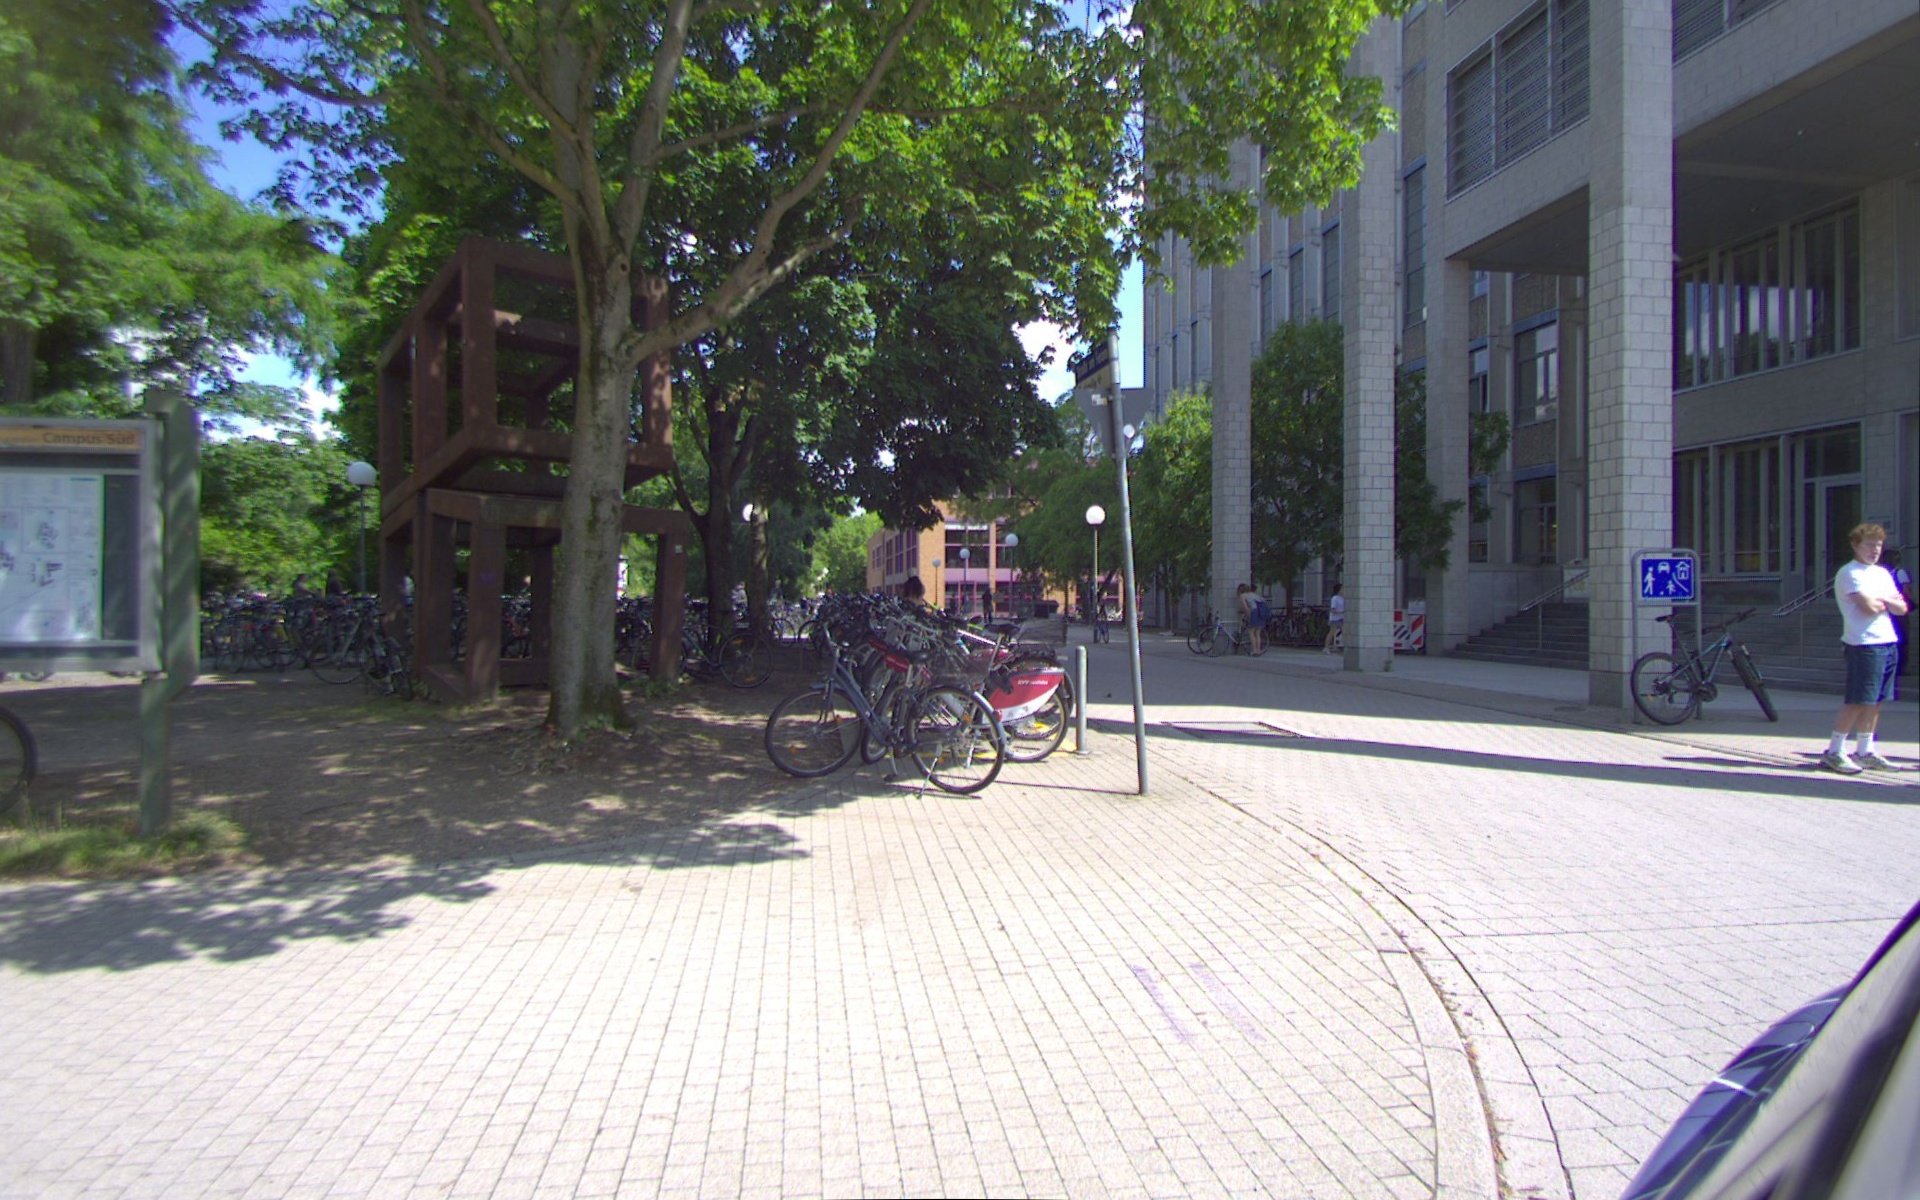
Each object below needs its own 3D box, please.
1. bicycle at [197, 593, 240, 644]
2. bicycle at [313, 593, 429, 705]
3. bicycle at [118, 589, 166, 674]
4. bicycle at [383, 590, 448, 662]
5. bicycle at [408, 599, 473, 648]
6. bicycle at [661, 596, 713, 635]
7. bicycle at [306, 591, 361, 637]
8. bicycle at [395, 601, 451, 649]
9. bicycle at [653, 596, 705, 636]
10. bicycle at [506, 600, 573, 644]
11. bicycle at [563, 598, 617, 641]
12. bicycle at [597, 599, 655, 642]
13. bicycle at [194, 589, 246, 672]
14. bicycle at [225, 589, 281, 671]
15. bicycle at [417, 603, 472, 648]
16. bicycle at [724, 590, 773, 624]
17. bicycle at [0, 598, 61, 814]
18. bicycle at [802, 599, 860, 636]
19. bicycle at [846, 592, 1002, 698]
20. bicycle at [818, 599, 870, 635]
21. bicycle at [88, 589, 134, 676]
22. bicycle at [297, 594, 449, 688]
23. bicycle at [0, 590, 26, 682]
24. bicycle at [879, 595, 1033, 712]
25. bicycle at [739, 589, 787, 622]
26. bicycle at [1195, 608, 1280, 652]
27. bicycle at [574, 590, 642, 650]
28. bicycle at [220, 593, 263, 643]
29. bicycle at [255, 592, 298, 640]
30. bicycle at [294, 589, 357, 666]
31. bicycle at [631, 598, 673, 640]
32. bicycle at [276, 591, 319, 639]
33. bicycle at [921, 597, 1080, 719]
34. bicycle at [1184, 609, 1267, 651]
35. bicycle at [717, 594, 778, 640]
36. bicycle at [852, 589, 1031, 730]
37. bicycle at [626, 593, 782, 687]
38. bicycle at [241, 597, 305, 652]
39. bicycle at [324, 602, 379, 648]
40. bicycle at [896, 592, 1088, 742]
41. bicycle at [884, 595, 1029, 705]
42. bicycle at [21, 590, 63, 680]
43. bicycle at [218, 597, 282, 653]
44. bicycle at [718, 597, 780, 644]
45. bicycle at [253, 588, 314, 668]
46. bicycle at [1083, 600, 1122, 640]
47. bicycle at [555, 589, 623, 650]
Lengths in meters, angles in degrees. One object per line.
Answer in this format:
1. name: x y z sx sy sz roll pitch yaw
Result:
1. bicycle: -15.321 0.367 20.892 1.590 0.991 0.398 1 1 42
2. bicycle: -6.550 0.502 11.215 1.919 1.123 0.622 -1 1 45
3. bicycle: -12.026 0.429 14.864 1.840 1.185 0.347 0 0 45
4. bicycle: -9.370 0.416 17.376 1.838 1.185 0.407 0 0 43
5. bicycle: -11.241 0.481 21.876 1.893 0.991 0.472 1 1 37
6. bicycle: -7.652 0.438 28.377 1.453 1.098 0.350 -1 -3 20
7. bicycle: -14.083 0.293 22.724 1.790 0.991 0.374 1 1 35
8. bicycle: -12.766 0.598 24.049 1.456 1.098 0.349 -1 -3 25
9. bicycle: -7.778 0.456 28.002 1.453 1.098 0.350 -1 -3 20
10. bicycle: -10.019 0.500 24.092 1.889 0.991 0.473 0 1 32
11. bicycle: -9.153 0.466 24.997 1.898 0.991 0.471 1 2 44
12. bicycle: -8.556 0.530 25.916 1.456 1.098 0.474 -1 -3 24
13. bicycle: -11.115 0.423 15.185 1.840 1.185 0.347 0 0 45
14. bicycle: -10.727 0.422 15.332 1.840 1.185 0.382 0 0 45
15. bicycle: -12.616 0.627 24.765 1.456 1.098 0.349 -1 -3 25
16. bicycle: -6.989 0.235 33.426 1.672 1.098 0.474 -1 -3 28
17. bicycle: -5.674 0.590 5.050 1.656 1.097 0.629 -3 0 -32
18. bicycle: -3.866 0.529 30.317 1.653 1.098 0.530 1 -3 -14
19. bicycle: -0.407 0.488 11.183 1.663 1.099 0.482 1 1 -3
20. bicycle: -3.881 0.564 33.754 1.653 1.165 0.552 1 -3 -14
21. bicycle: -12.264 0.440 14.606 1.840 1.185 0.347 0 0 45
22. bicycle: -7.688 0.503 13.310 0.474 1.123 1.644 -1 1 44
23. bicycle: -12.992 0.457 13.765 1.840 1.185 0.347 0 0 45
24. bicycle: -0.053 0.521 9.966 1.444 1.099 0.461 1 1 -8
25. bicycle: -6.668 0.198 34.182 1.672 1.098 0.474 -1 -3 28
26. bicycle: 6.007 0.648 21.909 1.741 0.911 0.337 -1 -1 -3
27. bicycle: -7.152 0.384 20.511 1.834 1.185 0.341 0 0 37
28. bicycle: -15.049 0.355 21.189 1.590 0.991 0.398 1 1 42
29. bicycle: -14.752 0.324 21.840 1.590 0.991 0.398 1 1 42
30. bicycle: -10.275 0.409 16.364 1.838 1.185 0.407 0 0 43
31. bicycle: -8.227 0.513 27.014 0.446 1.098 1.468 3 -3 -43
32. bicycle: -14.489 0.316 22.130 1.590 0.991 0.398 1 1 42
33. bicycle: 0.375 0.542 9.553 1.410 1.099 0.461 1 1 -11
34. bicycle: 5.952 0.672 22.748 1.747 0.911 0.447 0 -1 10
35. bicycle: -5.295 0.413 25.199 1.441 1.097 0.353 0 0 -22
36. bicycle: -0.158 0.507 9.023 1.502 1.155 0.490 2 1 11
37. bicycle: -3.142 0.481 12.476 1.792 1.091 0.464 1 1 -1
38. bicycle: -13.330 0.450 19.619 1.894 0.991 0.472 1 1 38
39. bicycle: -13.862 0.547 23.032 1.790 0.991 0.374 1 1 35
40. bicycle: 0.250 0.535 8.337 1.458 1.155 0.563 1 1 -11
41. bicycle: -0.053 0.516 10.739 1.485 1.099 0.482 1 1 -3
42. bicycle: -12.746 0.448 14.039 1.840 1.185 0.347 0 0 45
43. bicycle: -13.560 0.461 19.314 1.894 0.991 0.472 1 1 38
44. bicycle: -5.048 0.477 24.213 1.441 1.097 0.353 0 0 -12
45. bicycle: -10.596 0.411 15.833 1.838 1.185 0.382 0 0 43
46. bicycle: 4.159 0.577 29.603 0.558 1.117 1.837 1 -1 -11
47. bicycle: -7.463 0.367 20.314 1.834 1.185 0.341 0 0 37
